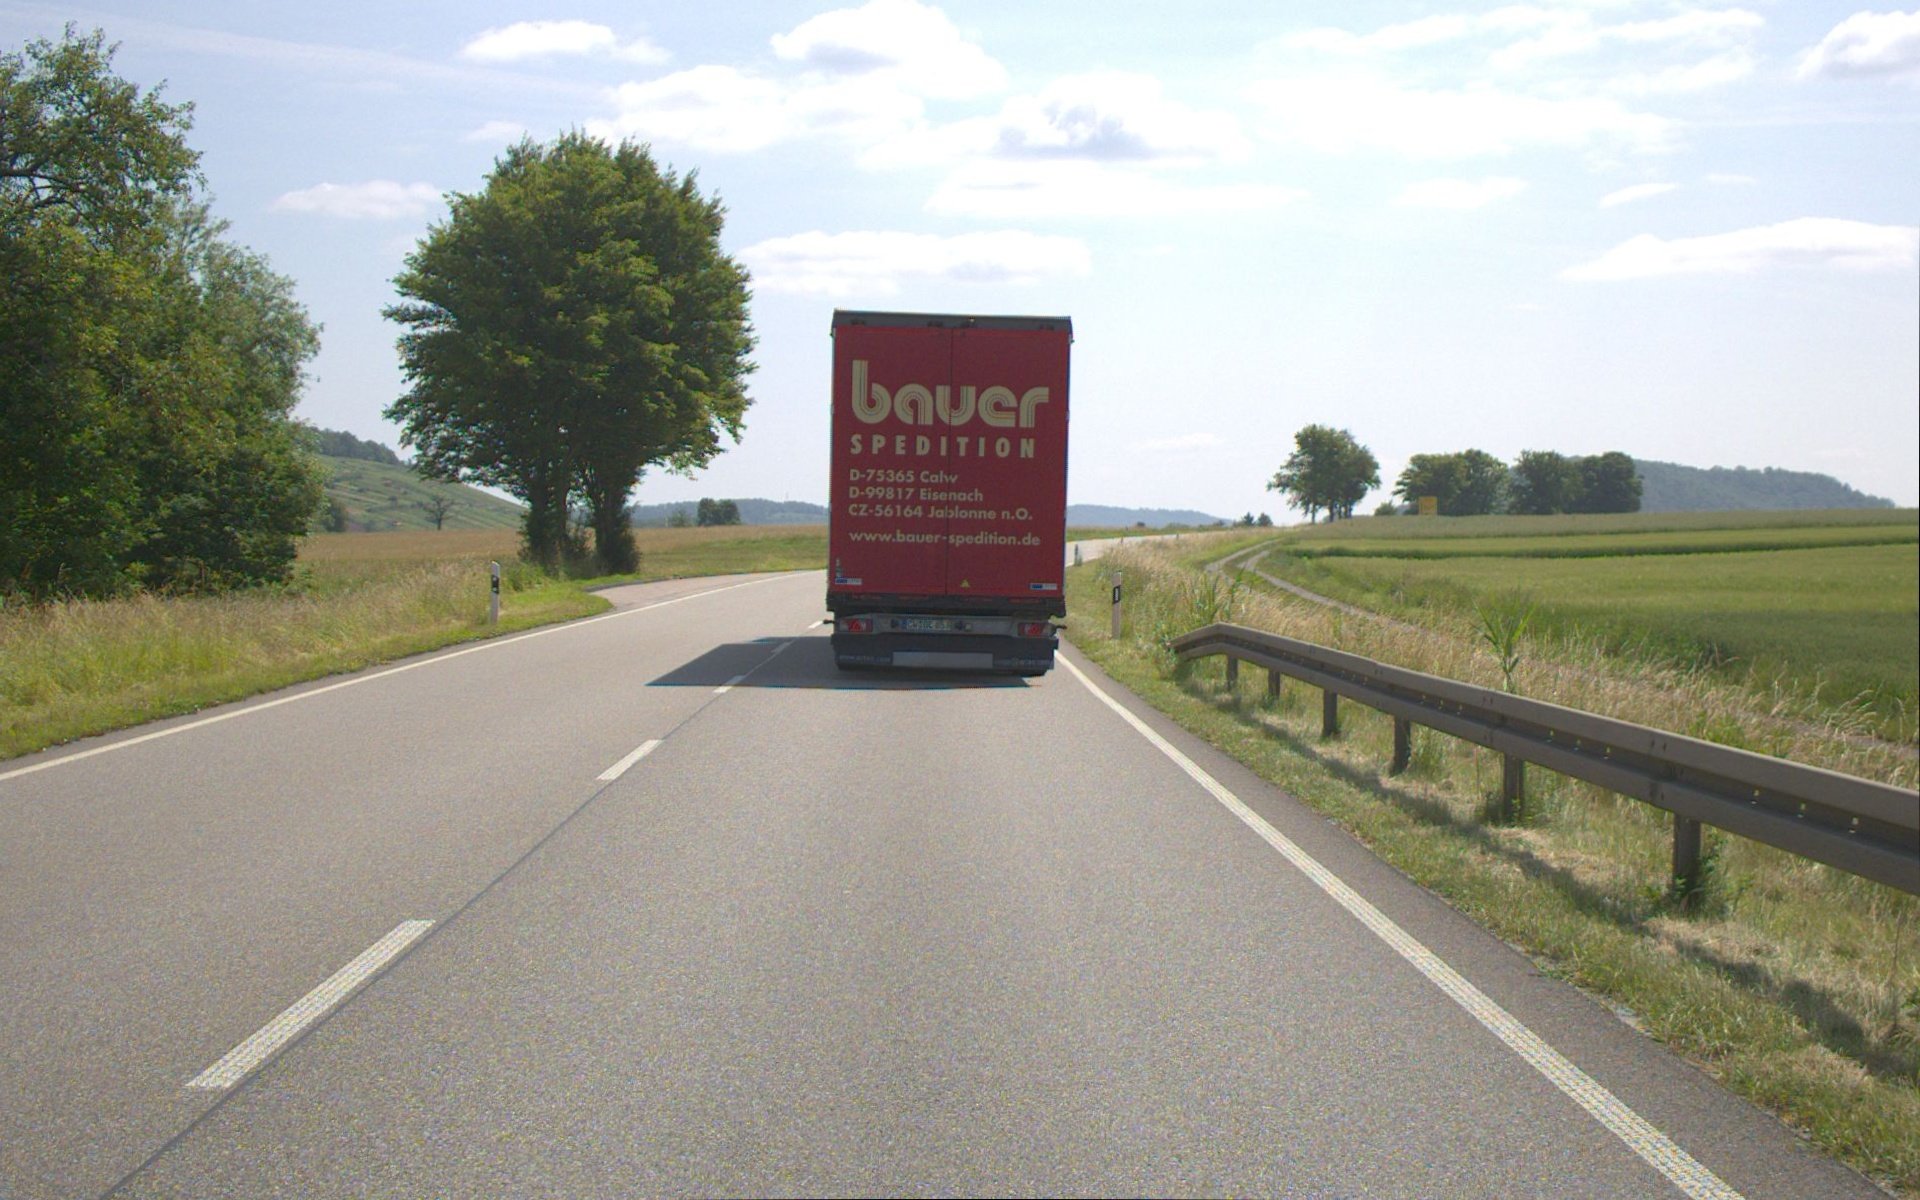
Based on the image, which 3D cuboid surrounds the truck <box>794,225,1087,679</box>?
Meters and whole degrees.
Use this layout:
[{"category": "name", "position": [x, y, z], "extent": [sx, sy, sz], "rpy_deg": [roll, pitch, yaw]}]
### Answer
[{"category": "truck", "position": [-0.360, -1.587, 40.837], "extent": [2.975, 4.697, 9.366], "rpy_deg": [1, 0, -2]}]
